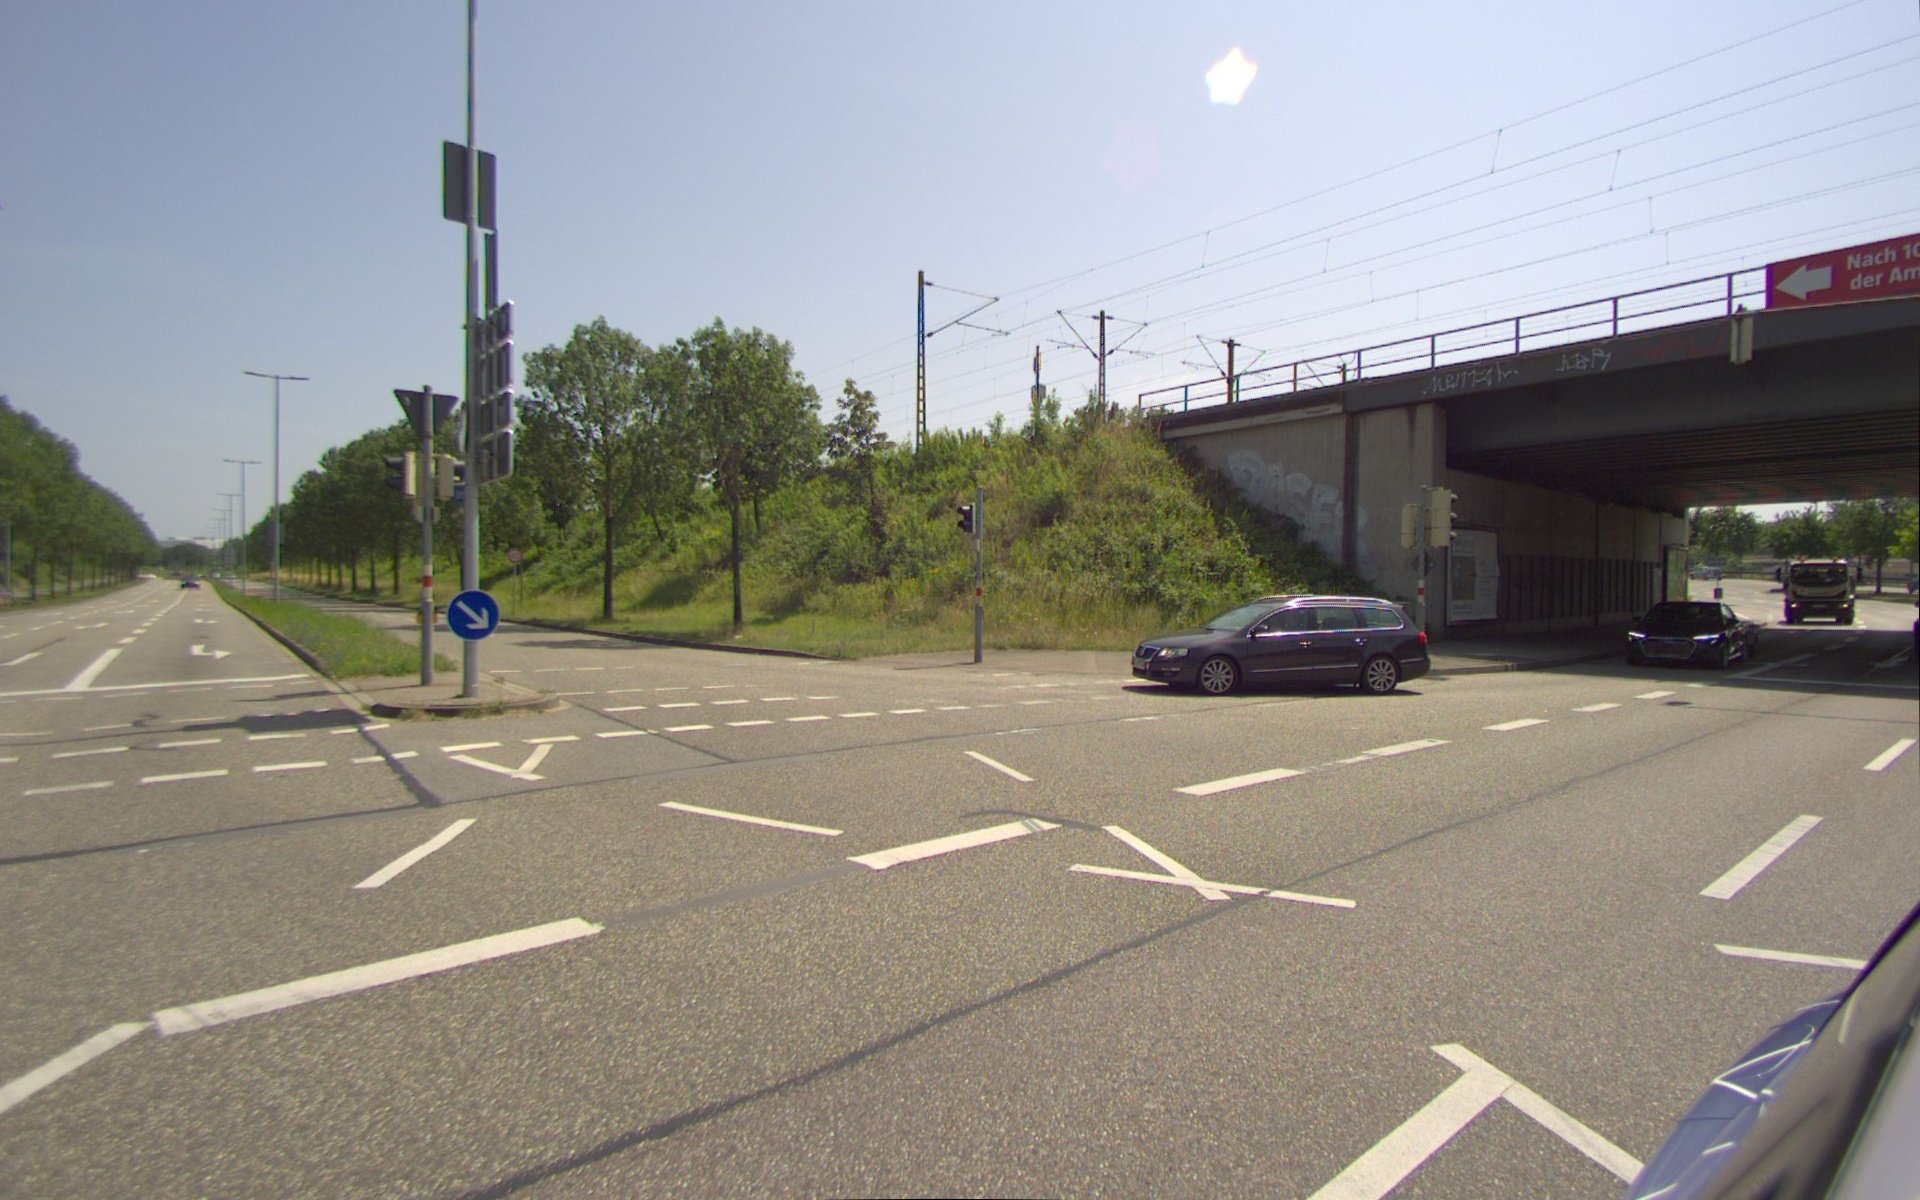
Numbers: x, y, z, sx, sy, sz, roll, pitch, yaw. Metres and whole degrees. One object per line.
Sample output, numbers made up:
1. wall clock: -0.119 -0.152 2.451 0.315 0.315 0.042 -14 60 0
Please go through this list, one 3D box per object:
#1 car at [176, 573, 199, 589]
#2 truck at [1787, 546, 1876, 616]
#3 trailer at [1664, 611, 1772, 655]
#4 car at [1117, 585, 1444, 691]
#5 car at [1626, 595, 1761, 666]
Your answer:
1. car: -95.732 -2.349 125.405 1.961 2.039 4.002 0 1 -33
2. truck: 40.157 -0.807 46.754 2.874 2.953 8.393 0 0 40
3. trailer: 18.871 0.779 25.135 1.676 0.954 3.772 -1 0 44
4. car: 4.977 0.552 15.933 4.576 1.521 1.813 0 1 -11
5. car: 16.322 0.602 22.459 3.839 1.407 1.805 0 1 -44
